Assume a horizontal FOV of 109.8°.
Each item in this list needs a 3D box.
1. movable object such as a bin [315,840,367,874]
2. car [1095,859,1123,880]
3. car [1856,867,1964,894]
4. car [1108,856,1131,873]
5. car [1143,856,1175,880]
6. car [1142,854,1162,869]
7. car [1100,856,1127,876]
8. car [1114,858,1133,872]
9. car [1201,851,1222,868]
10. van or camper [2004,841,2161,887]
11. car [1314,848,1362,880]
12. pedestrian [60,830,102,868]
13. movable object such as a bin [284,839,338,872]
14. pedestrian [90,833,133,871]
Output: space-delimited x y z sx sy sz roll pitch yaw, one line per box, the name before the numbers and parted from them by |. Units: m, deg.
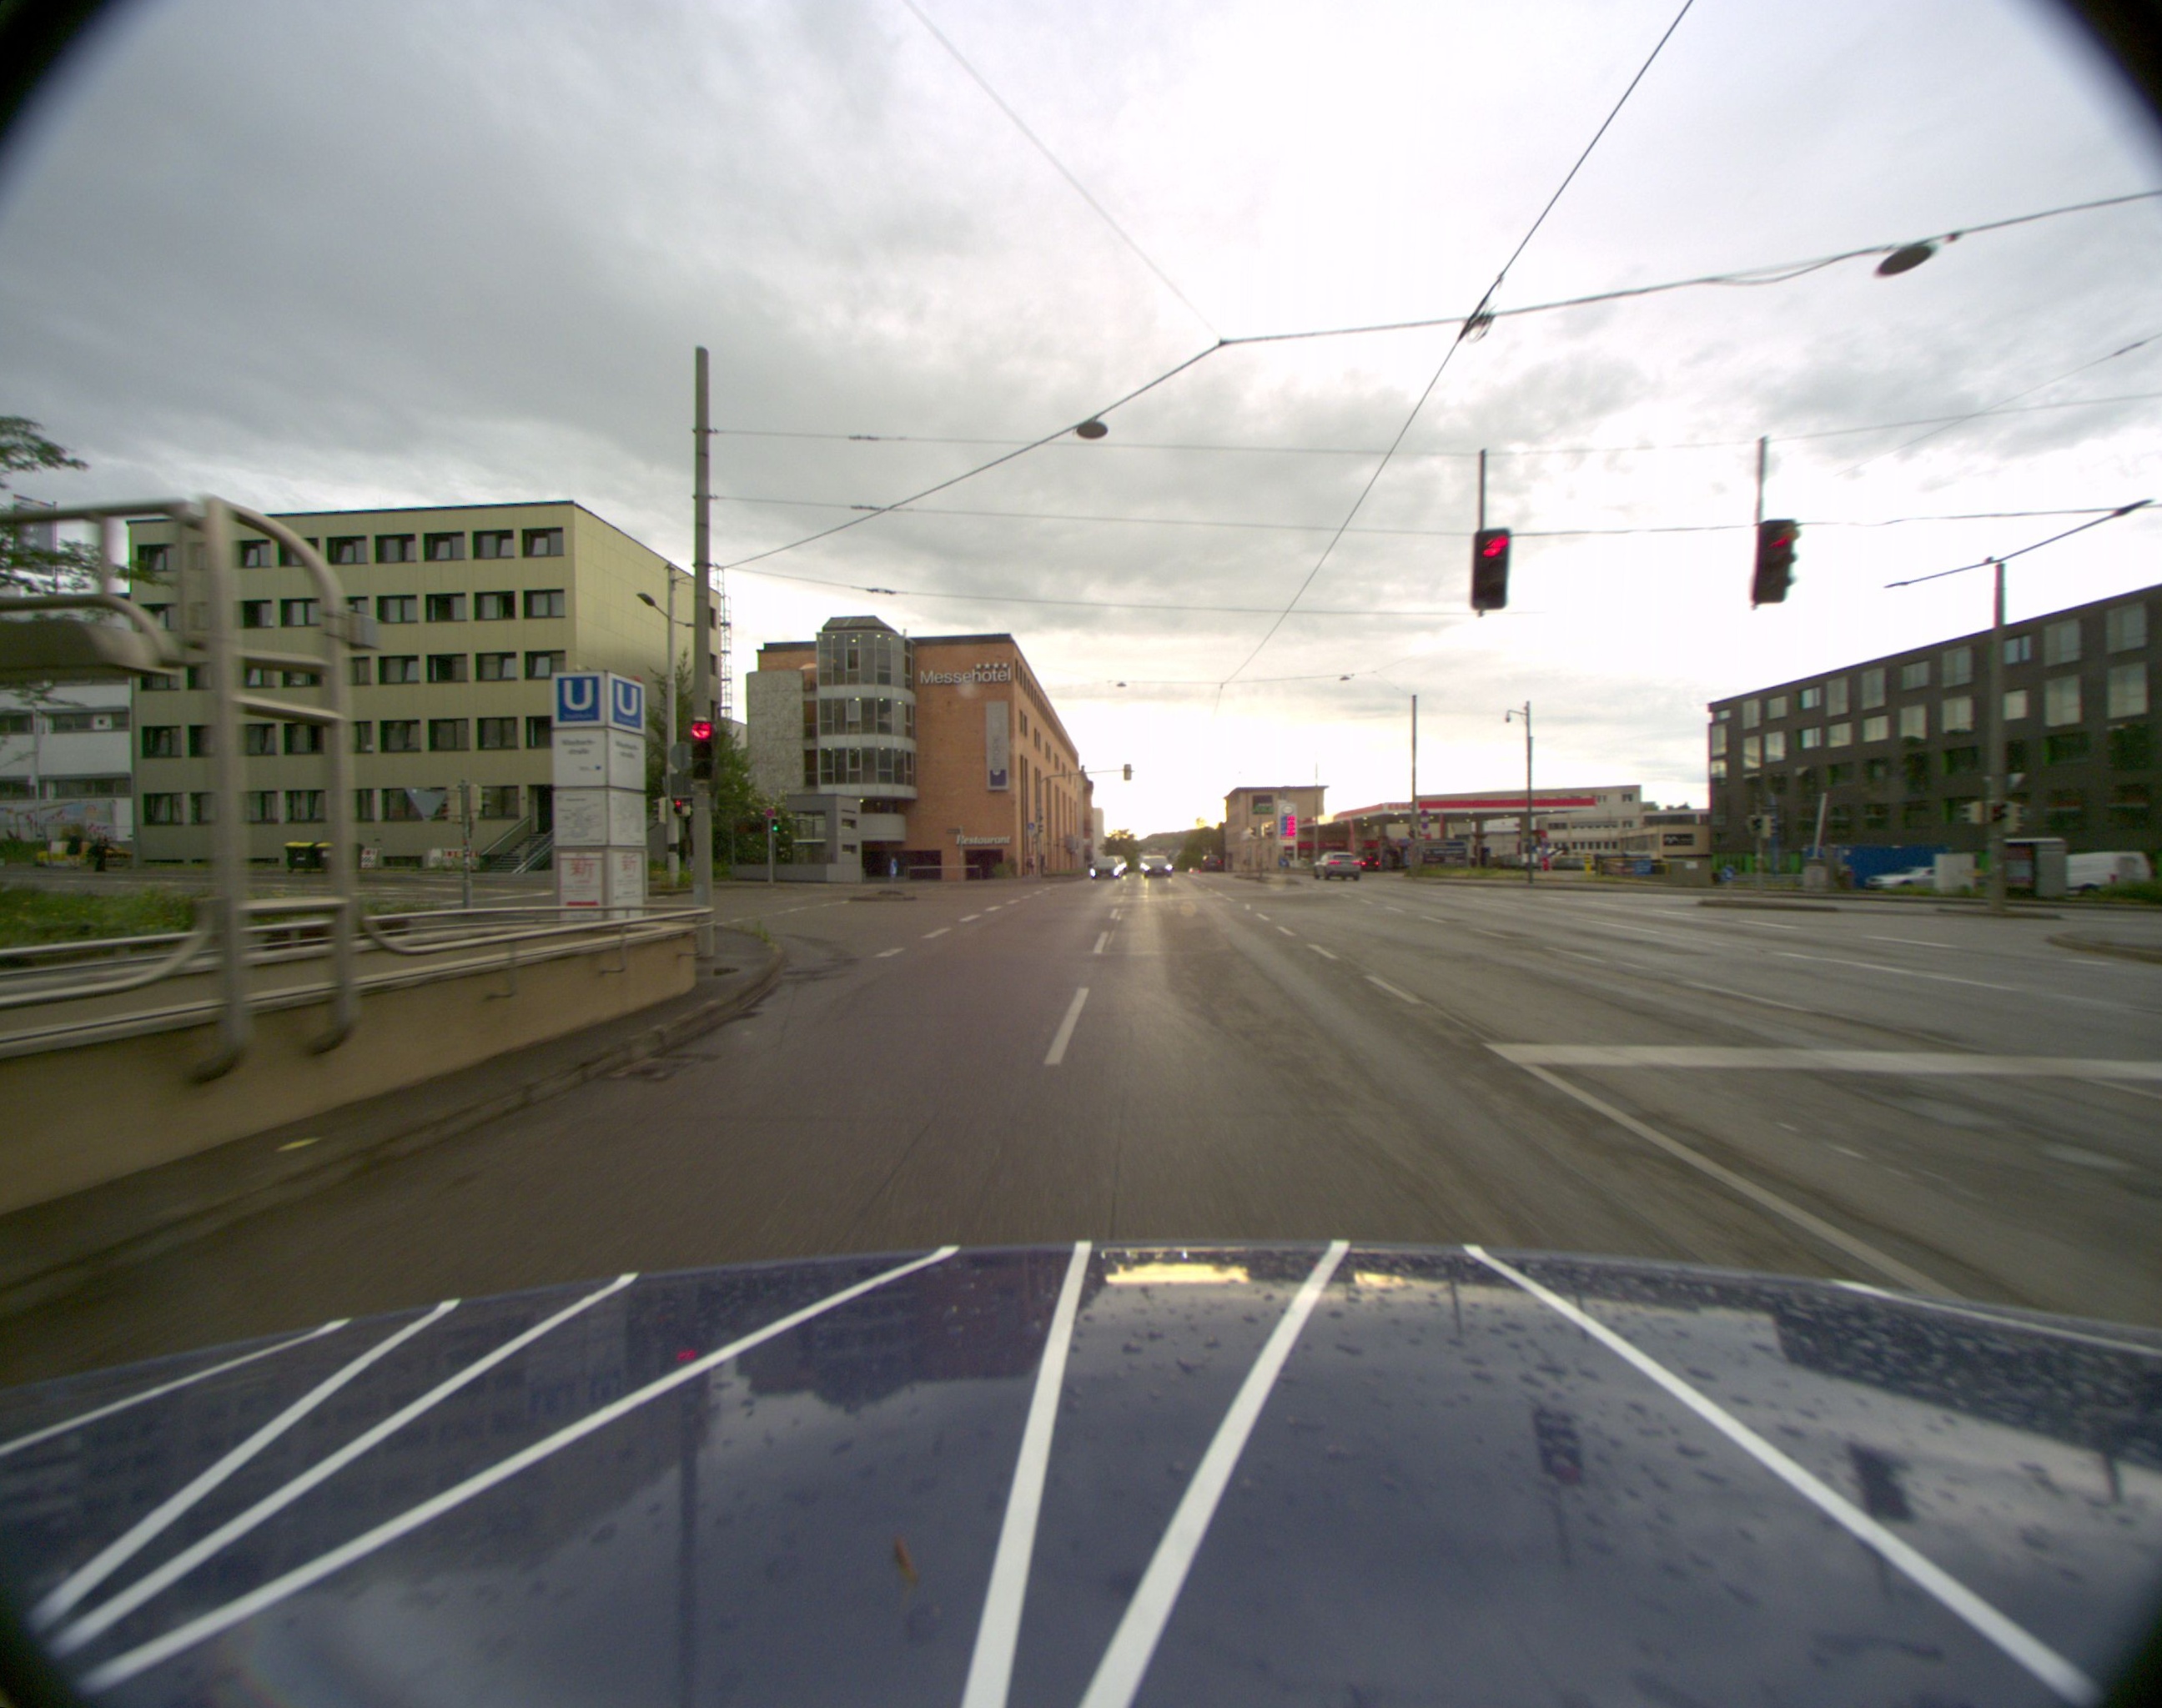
movable object such as a bin | -34.039 0.125 34.955 1.356 1.438 1.057 2 3 7
car | 1.877 1.007 50.265 1.649 1.313 4.001 -1 0 5
car | 48.749 1.562 44.783 3.994 1.281 1.803 2 3 8
car | 3.344 0.869 65.221 1.696 1.392 4.090 -1 0 7
car | 5.179 0.914 51.069 1.963 1.516 4.263 -1 0 4
car | 6.816 0.701 72.646 1.696 1.392 4.090 -1 0 7
car | 2.471 0.907 57.500 1.696 1.392 4.090 -1 0 7
car | 4.459 1.153 79.661 1.696 1.392 4.090 -1 0 7
car | 14.243 0.606 82.870 1.856 1.758 4.132 2 1 5
van or camper | 58.563 0.507 44.380 2.736 2.356 5.347 2 2 4
car | 15.119 0.532 44.926 1.912 1.623 4.212 2 2 8
pedestrian | -46.520 -0.248 35.340 0.941 1.722 0.757 2 3 5
movable object such as a bin | -35.594 0.072 35.126 1.428 1.438 1.057 2 3 7
pedestrian | -43.182 -0.097 33.850 0.967 1.667 0.769 2 3 6
